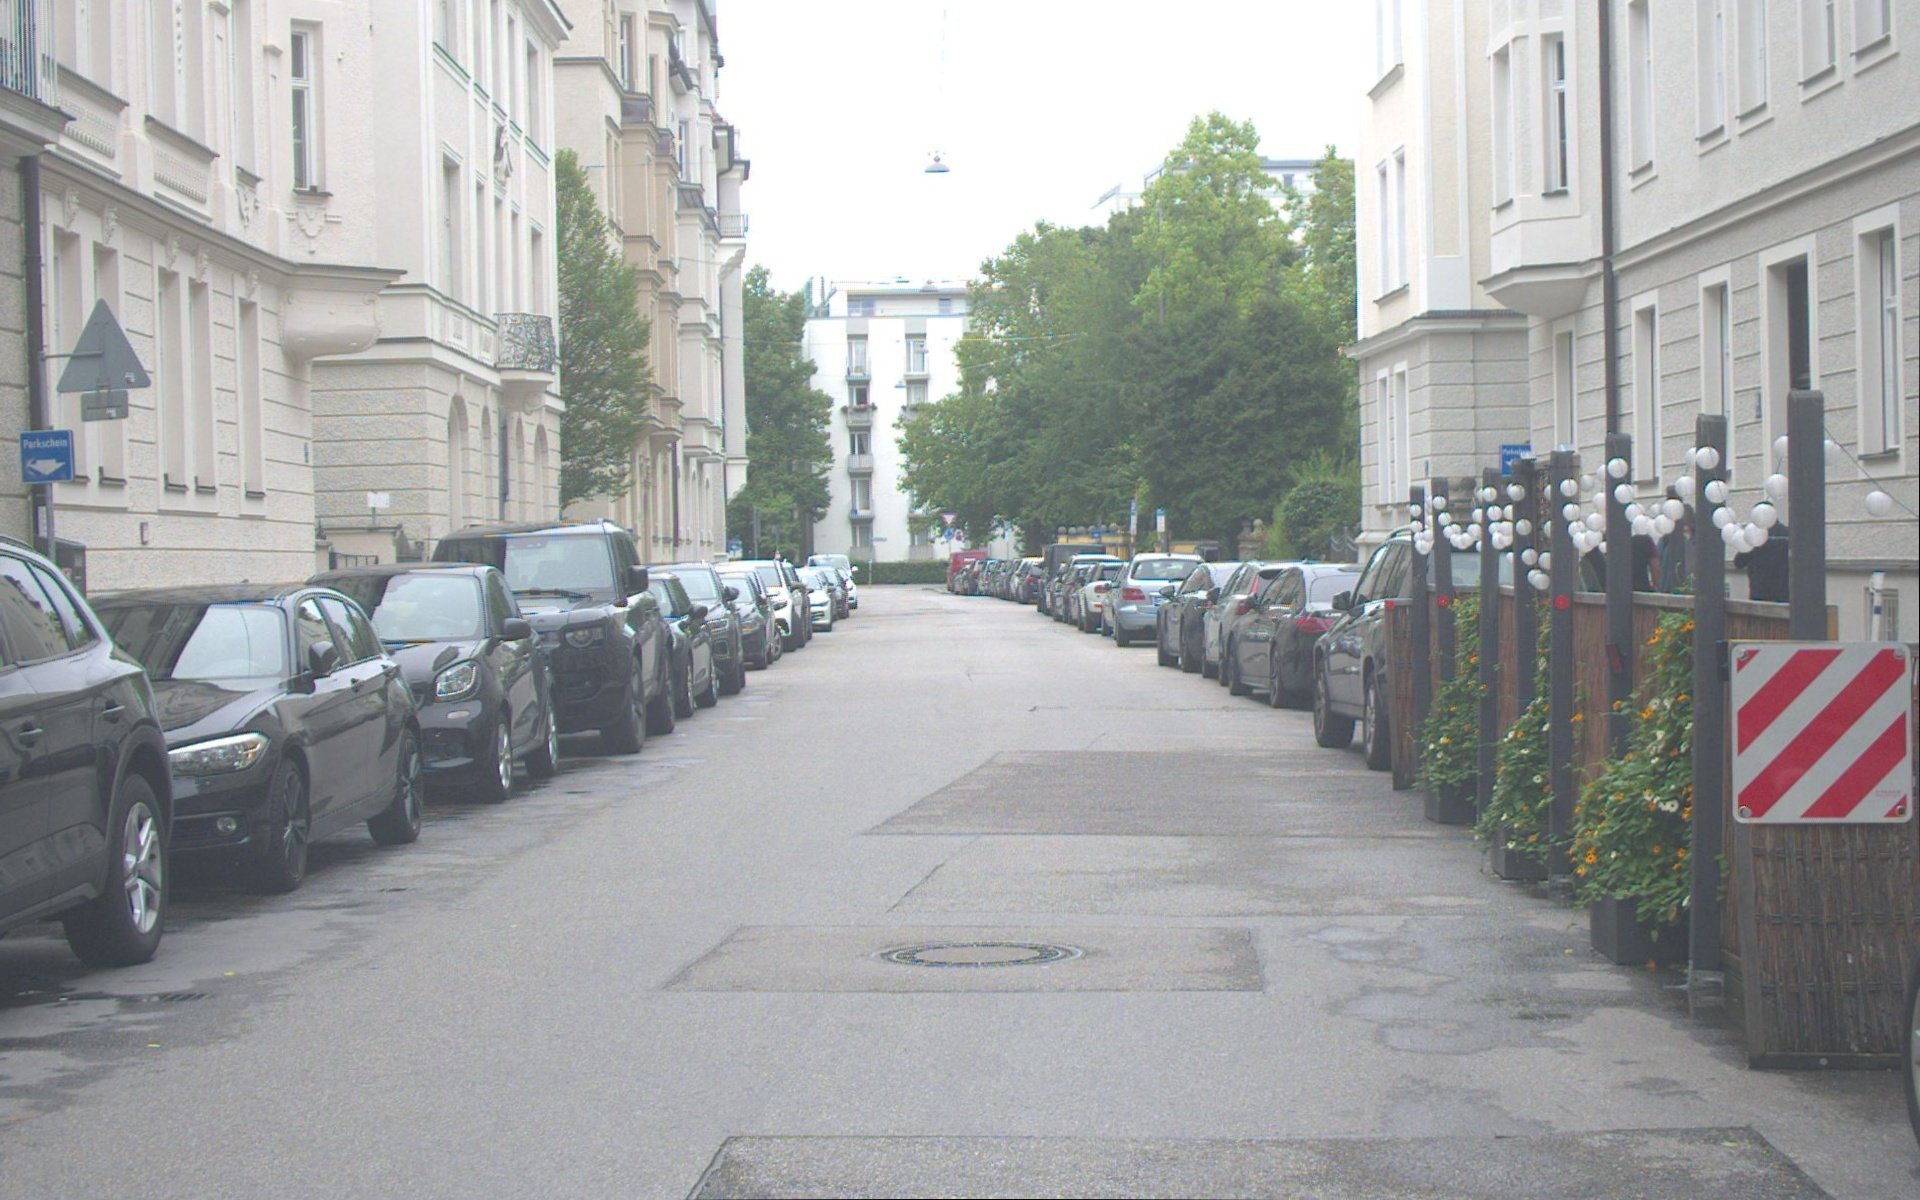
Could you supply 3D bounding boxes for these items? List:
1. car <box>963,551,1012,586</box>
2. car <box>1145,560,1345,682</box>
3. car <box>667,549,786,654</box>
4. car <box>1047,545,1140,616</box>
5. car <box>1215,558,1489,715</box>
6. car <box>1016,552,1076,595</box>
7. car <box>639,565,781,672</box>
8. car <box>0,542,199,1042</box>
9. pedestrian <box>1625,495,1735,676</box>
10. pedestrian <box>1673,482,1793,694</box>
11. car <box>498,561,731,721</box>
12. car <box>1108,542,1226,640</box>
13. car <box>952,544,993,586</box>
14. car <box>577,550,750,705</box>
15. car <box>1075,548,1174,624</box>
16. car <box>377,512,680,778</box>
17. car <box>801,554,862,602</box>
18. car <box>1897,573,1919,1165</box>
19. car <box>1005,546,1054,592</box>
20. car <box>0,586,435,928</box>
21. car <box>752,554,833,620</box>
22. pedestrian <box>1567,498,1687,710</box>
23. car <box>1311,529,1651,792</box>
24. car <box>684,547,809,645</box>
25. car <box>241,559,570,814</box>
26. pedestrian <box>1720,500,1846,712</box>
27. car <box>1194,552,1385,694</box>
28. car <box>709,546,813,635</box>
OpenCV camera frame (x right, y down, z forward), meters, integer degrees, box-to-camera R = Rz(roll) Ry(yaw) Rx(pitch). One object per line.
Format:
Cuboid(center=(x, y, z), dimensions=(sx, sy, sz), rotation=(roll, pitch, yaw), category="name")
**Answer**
Cuboid(center=(1.215, -1.403, 153.918), dimensions=(1.838, 1.513, 3.948), rotation=(0, 0, -4), category="car")
Cuboid(center=(3.675, 0.229, 45.128), dimensions=(1.993, 1.452, 4.713), rotation=(-1, 1, -3), category="car")
Cuboid(center=(-3.808, 0.000, 56.080), dimensions=(1.782, 1.536, 4.258), rotation=(-3, 1, -4), category="car")
Cuboid(center=(3.174, -0.497, 82.532), dimensions=(1.750, 1.605, 4.424), rotation=(1, 1, -4), category="car")
Cuboid(center=(3.838, 0.311, 34.505), dimensions=(1.836, 1.394, 4.975), rotation=(1, 1, -4), category="car")
Cuboid(center=(2.864, -0.897, 115.309), dimensions=(1.838, 1.408, 4.342), rotation=(0, 0, -1), category="car")
Cuboid(center=(-3.689, 0.244, 51.387), dimensions=(1.792, 1.410, 4.279), rotation=(-3, 1, -1), category="car")
Cuboid(center=(-4.025, 0.634, 11.274), dimensions=(1.876, 1.594, 4.433), rotation=(-1, 1, 2), category="car")
Cuboid(center=(7.393, -0.156, 35.351), dimensions=(0.883, 1.807, 1.111), rotation=(-1, 1, 1), category="pedestrian")
Cuboid(center=(7.464, -0.124, 33.247), dimensions=(0.883, 2.007, 1.111), rotation=(-1, 1, 1), category="pedestrian")
Cuboid(center=(-3.433, 0.368, 34.899), dimensions=(1.836, 1.389, 4.245), rotation=(-3, 1, 1), category="car")
Cuboid(center=(3.530, -0.193, 59.261), dimensions=(1.822, 1.564, 4.400), rotation=(2, 1, 1), category="car")
Cuboid(center=(0.626, -1.702, 164.725), dimensions=(1.836, 1.920, 4.004), rotation=(2, 1, 1), category="car")
Cuboid(center=(-3.399, 0.277, 40.038), dimensions=(1.726, 1.613, 4.122), rotation=(-3, 1, -2), category="car")
Cuboid(center=(3.324, -0.307, 70.208), dimensions=(1.784, 1.499, 4.065), rotation=(0, 1, -1), category="car")
Cuboid(center=(-3.410, 0.286, 28.023), dimensions=(1.836, 1.888, 4.764), rotation=(-3, 1, -1), category="car")
Cuboid(center=(-4.385, -0.767, 117.619), dimensions=(1.836, 1.433, 4.275), rotation=(-4, 1, 0), category="car")
Cuboid(center=(3.038, 0.690, 6.563), dimensions=(1.666, 1.395, 3.492), rotation=(2, 1, 3), category="car")
Cuboid(center=(2.532, -1.116, 125.220), dimensions=(1.513, 1.656, 3.674), rotation=(0, 0, -3), category="car")
Cuboid(center=(-3.850, 0.689, 17.043), dimensions=(1.654, 1.402, 4.092), rotation=(-2, 1, 2), category="car")
Cuboid(center=(-3.975, -0.325, 82.038), dimensions=(1.836, 1.429, 4.245), rotation=(-3, 1, -2), category="car")
Cuboid(center=(5.811, 0.028, 30.002), dimensions=(0.883, 1.805, 1.111), rotation=(-1, 1, 4), category="pedestrian")
Cuboid(center=(3.628, 0.354, 24.648), dimensions=(1.800, 1.669, 4.189), rotation=(2, 1, 1), category="car")
Cuboid(center=(-3.765, -0.103, 61.269), dimensions=(1.915, 1.613, 4.571), rotation=(-1, 1, 0), category="car")
Cuboid(center=(-3.638, 0.515, 23.079), dimensions=(1.616, 1.508, 3.532), rotation=(-2, 1, -1), category="car")
Cuboid(center=(7.062, 0.040, 29.553), dimensions=(0.883, 1.780, 1.111), rotation=(-1, 1, 6), category="pedestrian")
Cuboid(center=(3.791, 0.226, 40.175), dimensions=(1.760, 1.480, 4.421), rotation=(2, 1, 0), category="car")
Cuboid(center=(-3.825, -0.210, 66.667), dimensions=(1.836, 1.613, 4.245), rotation=(-1, 1, -1), category="car")
